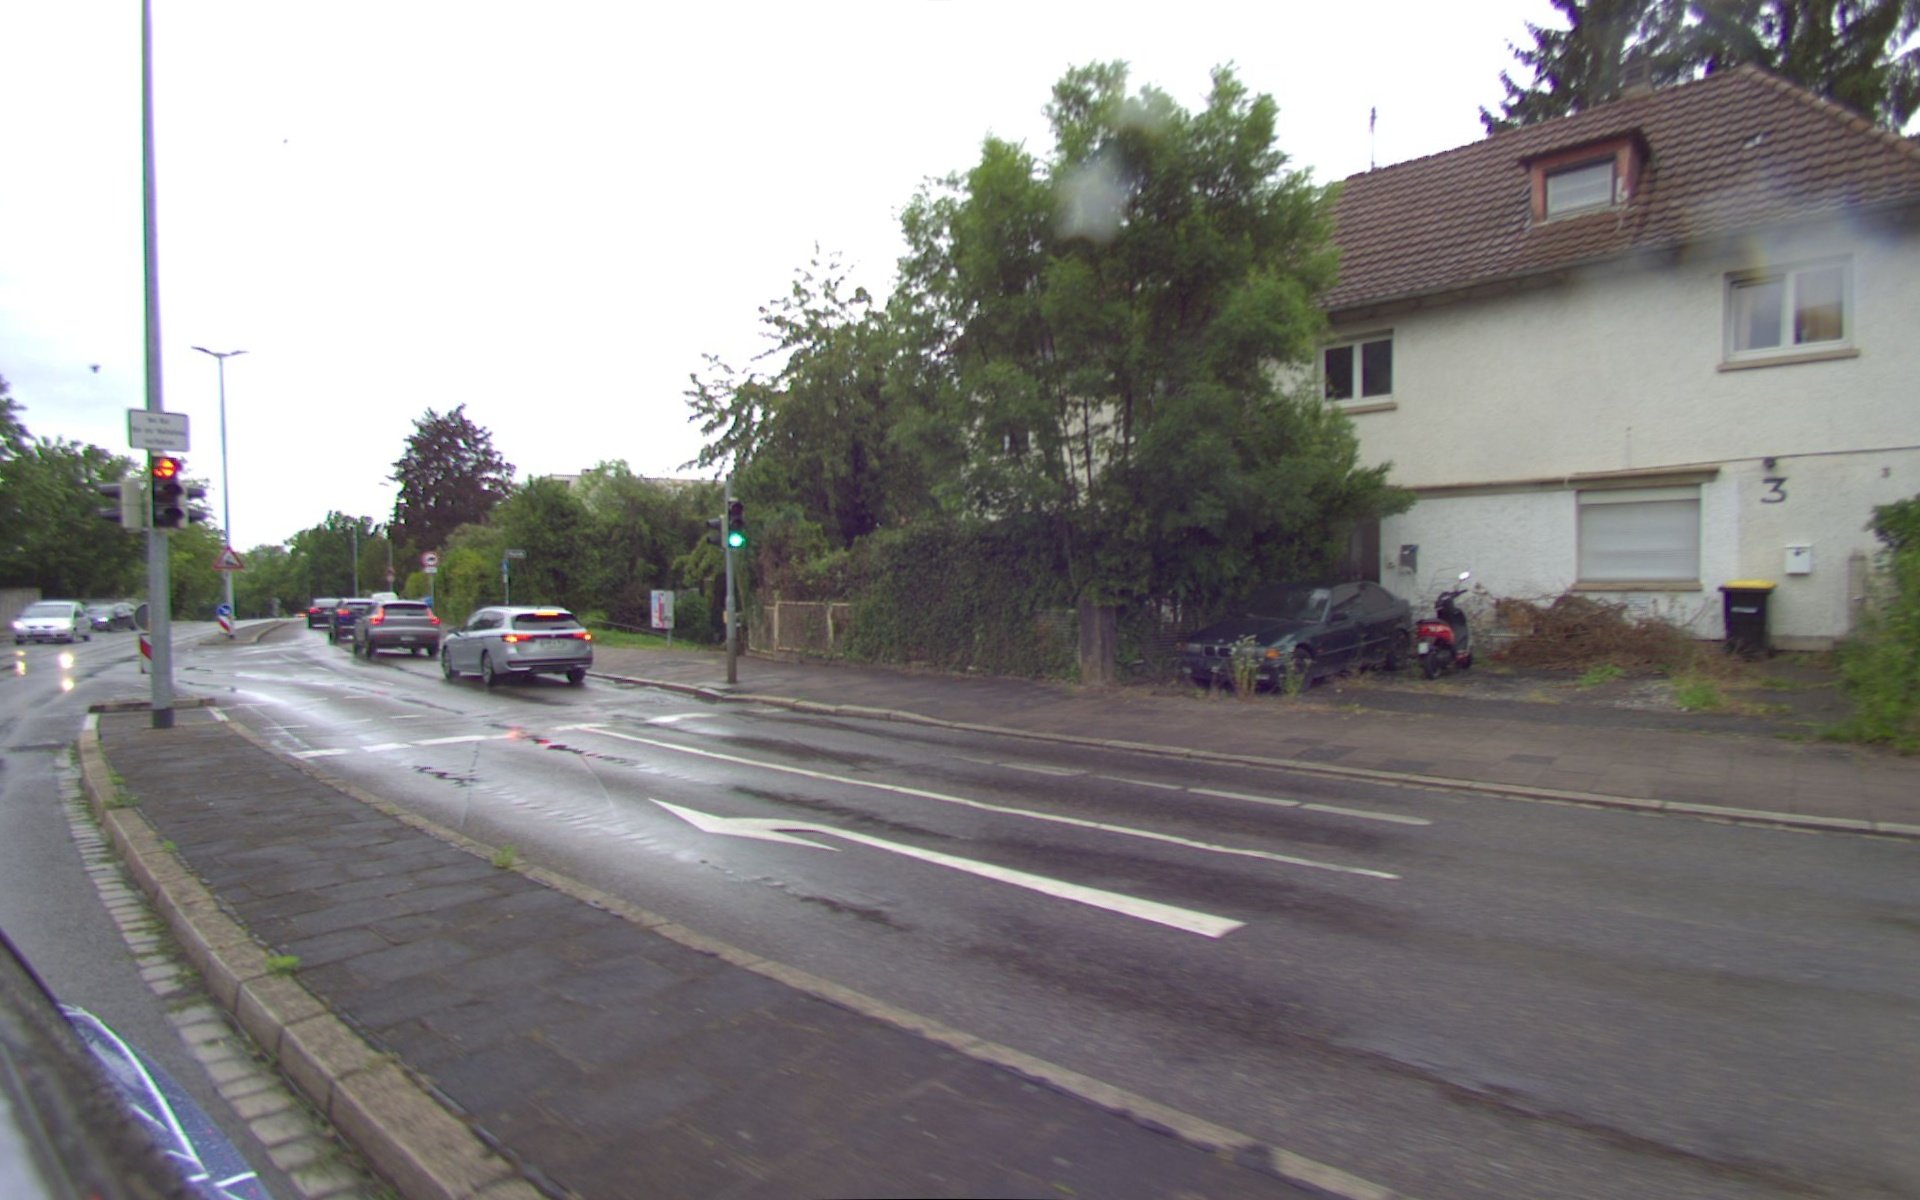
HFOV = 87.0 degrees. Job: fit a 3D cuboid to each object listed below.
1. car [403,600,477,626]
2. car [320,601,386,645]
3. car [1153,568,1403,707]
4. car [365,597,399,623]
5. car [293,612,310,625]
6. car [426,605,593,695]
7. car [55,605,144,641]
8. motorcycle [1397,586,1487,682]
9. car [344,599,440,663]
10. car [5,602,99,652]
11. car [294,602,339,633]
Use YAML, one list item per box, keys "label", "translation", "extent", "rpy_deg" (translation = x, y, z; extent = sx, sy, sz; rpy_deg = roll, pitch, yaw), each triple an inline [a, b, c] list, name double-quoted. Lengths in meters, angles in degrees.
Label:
- label: "car"
  translation: [-31.847, 0.775, 62.035]
  extent: [3.826, 1.467, 1.773]
  rpy_deg: [-1, 1, -35]
- label: "car"
  translation: [-23.455, 0.838, 39.042]
  extent: [1.840, 1.565, 4.457]
  rpy_deg: [1, 0, -35]
- label: "car"
  translation: [4.523, 0.405, 14.044]
  extent: [1.931, 1.405, 3.948]
  rpy_deg: [-1, 4, 40]
- label: "car"
  translation: [-39.900, 0.655, 69.818]
  extent: [1.791, 1.730, 4.011]
  rpy_deg: [-1, 1, -33]
- label: "car"
  translation: [-81.326, 2.263, 125.001]
  extent: [1.791, 1.467, 4.011]
  rpy_deg: [-1, 1, -33]
- label: "car"
  translation: [-9.003, 0.887, 19.996]
  extent: [1.655, 1.460, 4.695]
  rpy_deg: [-1, 1, -42]
- label: "car"
  translation: [-44.657, 1.164, 52.625]
  extent: [1.966, 1.669, 4.239]
  rpy_deg: [0, 1, -17]
- label: "motorcycle"
  translation: [6.846, 0.438, 14.304]
  extent: [0.726, 1.097, 2.182]
  rpy_deg: [-1, 4, 37]
- label: "car"
  translation: [-16.885, 0.843, 29.991]
  extent: [1.858, 1.690, 4.240]
  rpy_deg: [-1, 1, -38]
- label: "car"
  translation: [-33.656, 0.955, 37.628]
  extent: [1.966, 1.669, 4.011]
  rpy_deg: [-1, 1, -33]
- label: "car"
  translation: [-32.841, 0.866, 51.633]
  extent: [1.839, 1.487, 4.458]
  rpy_deg: [1, 0, -33]
